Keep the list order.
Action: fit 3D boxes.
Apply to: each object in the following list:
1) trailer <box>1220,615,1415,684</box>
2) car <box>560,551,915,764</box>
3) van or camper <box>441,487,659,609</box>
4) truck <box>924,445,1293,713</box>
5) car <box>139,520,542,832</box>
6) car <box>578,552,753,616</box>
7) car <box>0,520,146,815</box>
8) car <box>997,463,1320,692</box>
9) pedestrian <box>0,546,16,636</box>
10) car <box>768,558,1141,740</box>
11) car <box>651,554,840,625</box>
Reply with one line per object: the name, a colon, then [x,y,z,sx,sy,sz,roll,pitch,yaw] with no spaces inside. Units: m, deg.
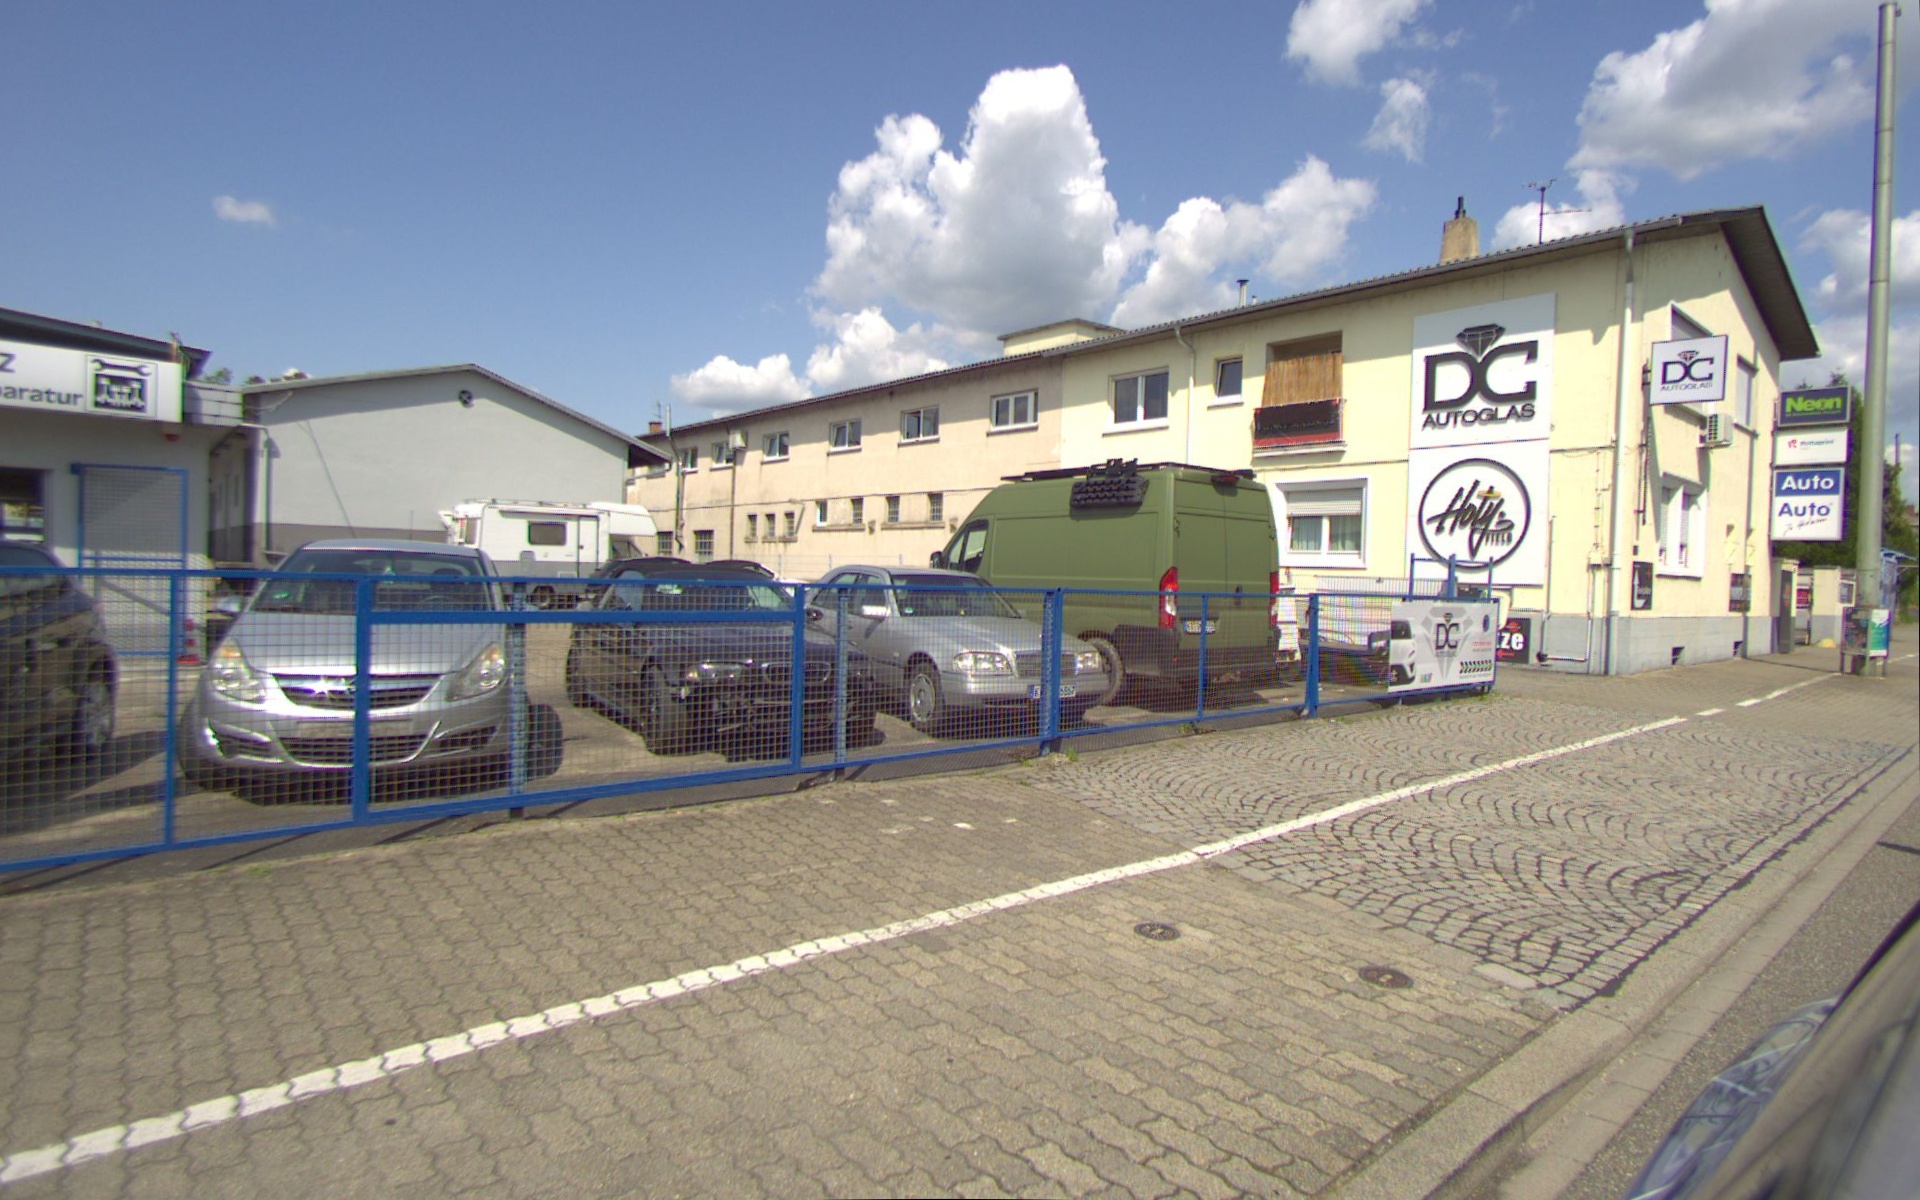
trailer: [5.080,0.670,14.539,1.245,0.776,2.330,0,2,-39]
car: [-2.126,0.310,8.755,1.768,1.403,3.837,1,2,-33]
van or camper: [-11.011,-1.324,27.376,4.971,2.999,2.284,0,2,-42]
truck: [1.622,-0.284,12.155,2.033,2.639,3.996,1,2,-40]
car: [-3.951,0.302,7.111,1.766,1.497,4.158,1,2,-24]
car: [-7.483,-0.410,25.898,3.939,1.497,1.719,0,2,-41]
car: [-5.748,0.324,5.043,1.685,1.497,4.012,1,2,-25]
car: [2.610,-0.345,14.153,1.771,2.702,4.208,1,2,-40]
pedestrian: [-13.260,-0.129,13.848,0.479,1.228,0.501,1,1,-42]
car: [-0.297,0.320,10.215,1.768,1.413,4.216,1,2,-33]
car: [-4.929,-0.246,23.528,3.939,1.497,1.719,0,2,-41]
